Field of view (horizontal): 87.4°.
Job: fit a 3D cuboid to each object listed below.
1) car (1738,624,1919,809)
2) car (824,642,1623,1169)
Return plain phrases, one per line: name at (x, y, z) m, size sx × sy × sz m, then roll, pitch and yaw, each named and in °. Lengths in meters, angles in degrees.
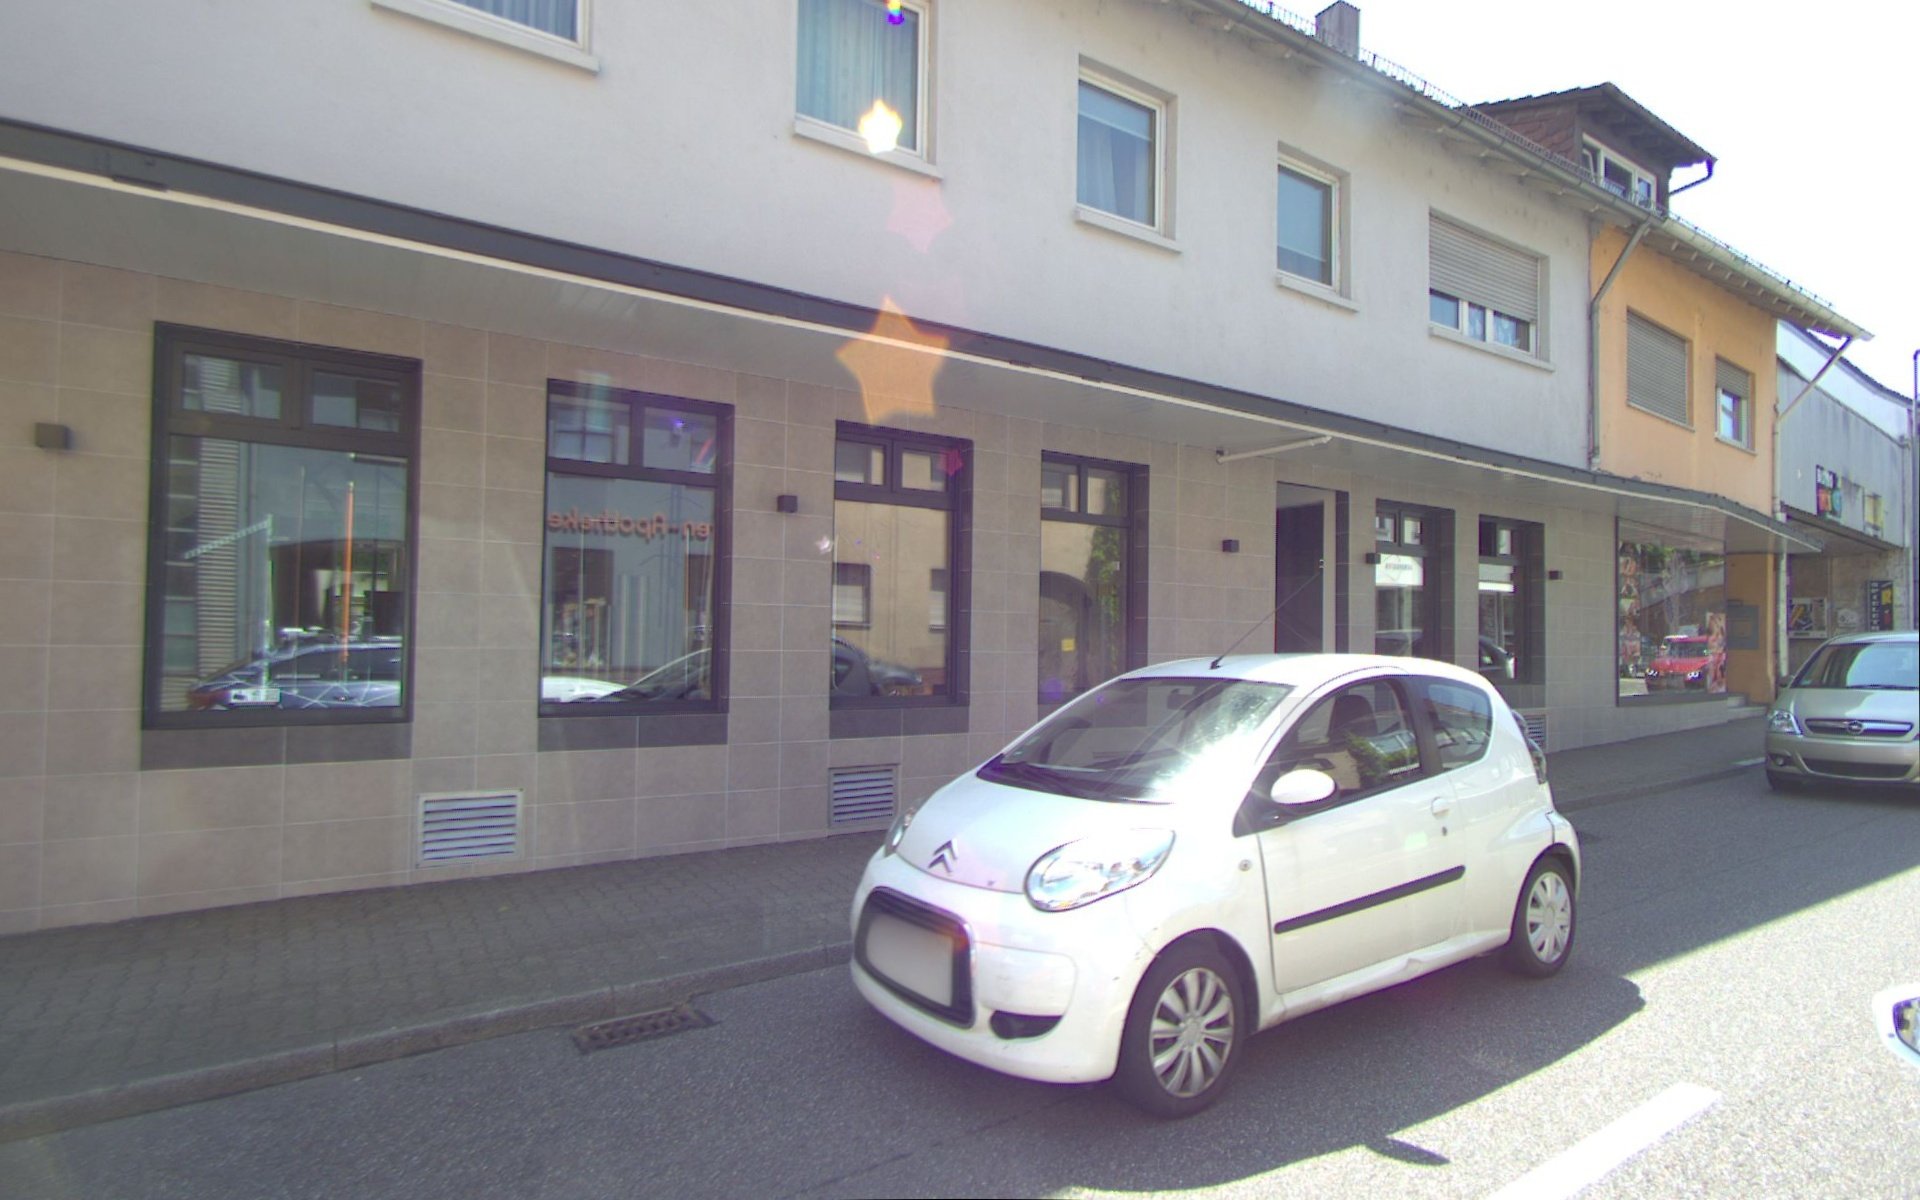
car at (9.809, 1.073, 10.415) m, size 3.782 × 1.638 × 1.669 m, roll 0°, pitch -3°, yaw -35°
car at (1.278, 0.941, 4.473) m, size 3.411 × 1.474 × 1.587 m, roll 2°, pitch -4°, yaw -34°
